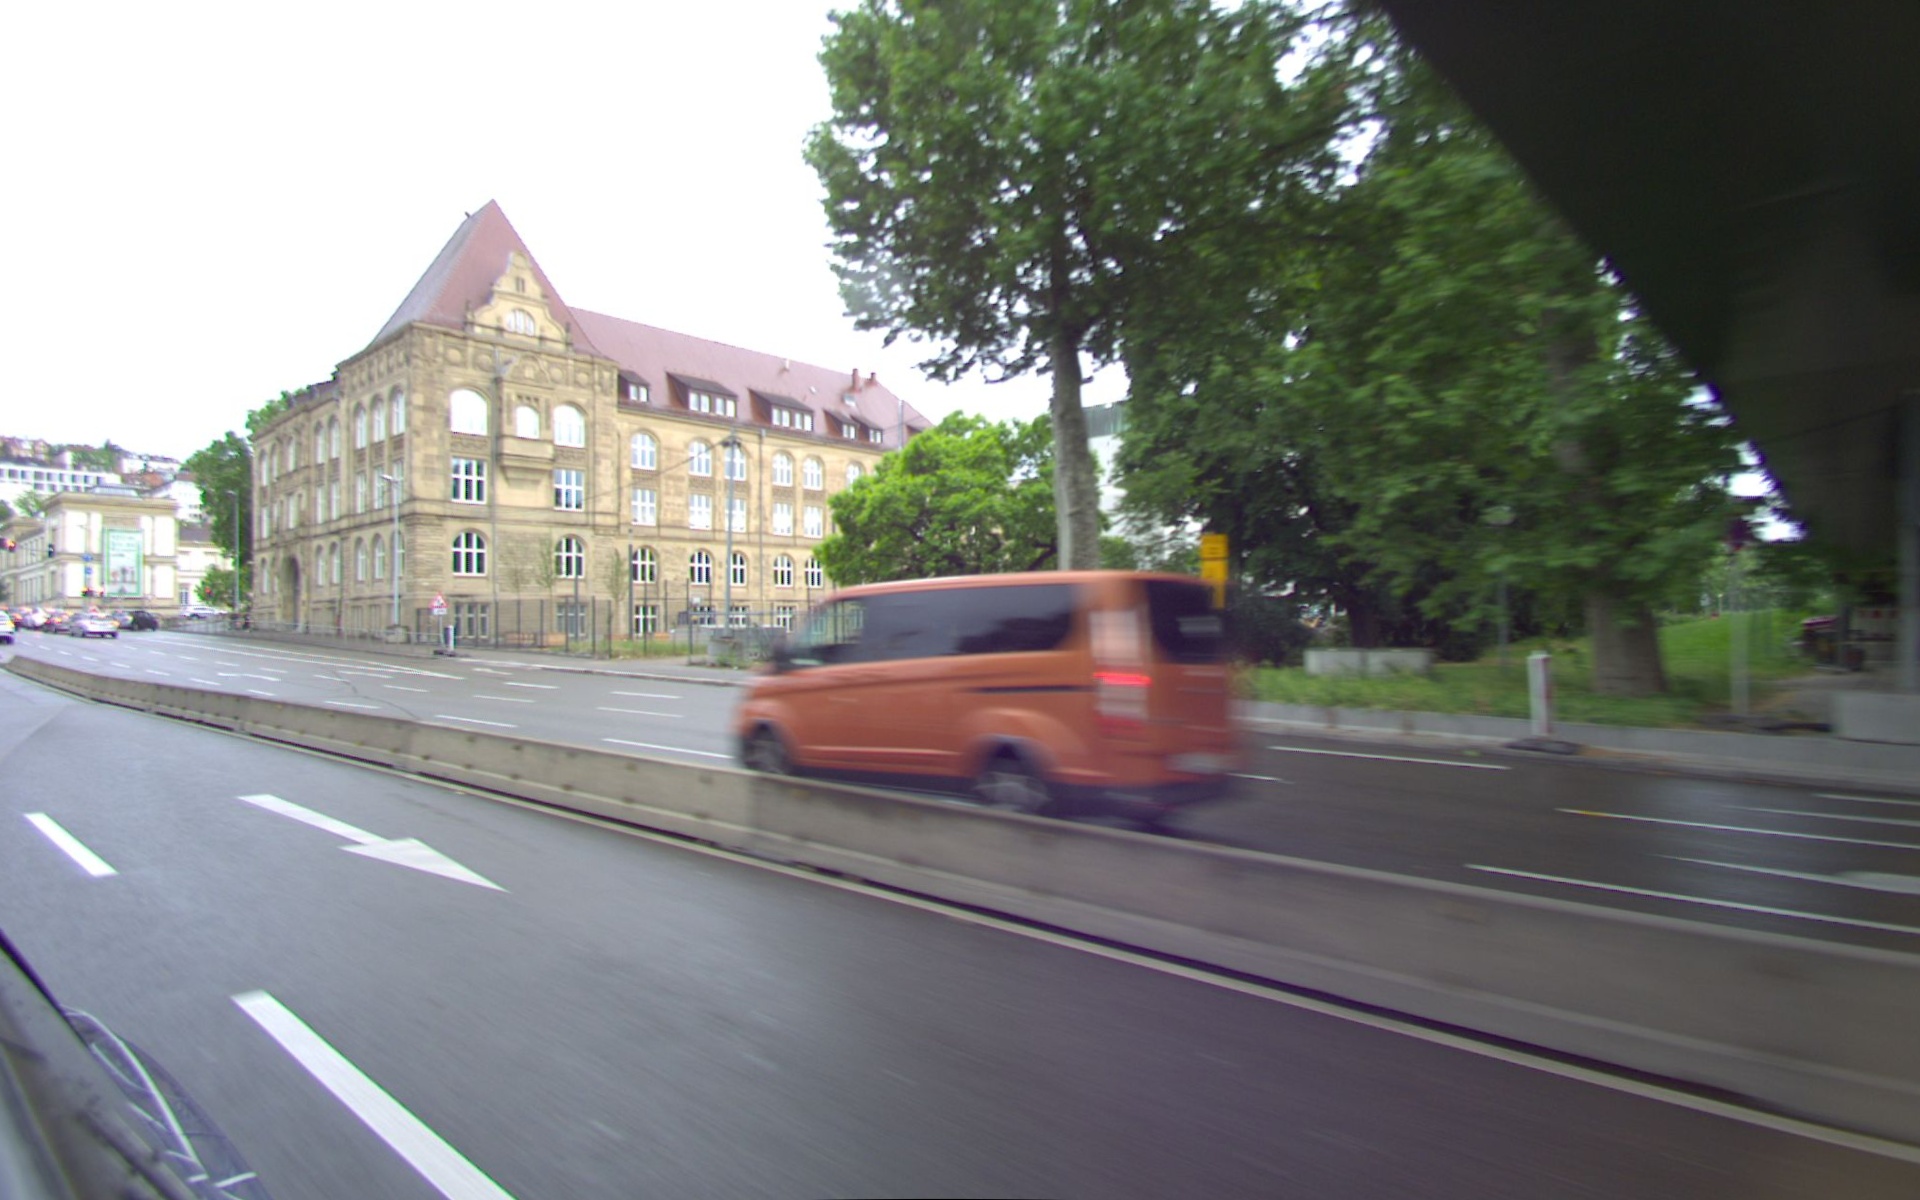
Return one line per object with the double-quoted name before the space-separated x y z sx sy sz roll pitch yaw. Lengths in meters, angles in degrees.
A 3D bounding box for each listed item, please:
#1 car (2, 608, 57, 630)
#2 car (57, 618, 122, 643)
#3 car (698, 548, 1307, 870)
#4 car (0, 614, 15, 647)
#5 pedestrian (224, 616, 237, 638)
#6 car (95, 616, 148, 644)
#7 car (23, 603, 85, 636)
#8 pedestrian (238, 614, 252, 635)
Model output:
"car" -64.630 1.319 70.271 4.204 1.393 1.975 0 -2 37
"car" -53.228 1.885 61.874 4.202 1.393 1.976 0 -2 35
"car" 0.078 0.701 8.606 5.044 1.951 2.008 0 -3 43
"car" -48.820 1.458 50.360 4.893 1.579 1.875 0 -3 39
"pedestrian" -55.938 2.063 77.584 0.734 1.596 0.610 0 -3 41
"car" -65.502 2.348 79.071 3.988 2.029 1.978 1 -2 33
"car" -59.548 1.257 66.525 3.988 2.029 1.978 1 -2 33
"pedestrian" -55.290 1.917 78.286 0.733 1.596 0.611 0 -2 33
